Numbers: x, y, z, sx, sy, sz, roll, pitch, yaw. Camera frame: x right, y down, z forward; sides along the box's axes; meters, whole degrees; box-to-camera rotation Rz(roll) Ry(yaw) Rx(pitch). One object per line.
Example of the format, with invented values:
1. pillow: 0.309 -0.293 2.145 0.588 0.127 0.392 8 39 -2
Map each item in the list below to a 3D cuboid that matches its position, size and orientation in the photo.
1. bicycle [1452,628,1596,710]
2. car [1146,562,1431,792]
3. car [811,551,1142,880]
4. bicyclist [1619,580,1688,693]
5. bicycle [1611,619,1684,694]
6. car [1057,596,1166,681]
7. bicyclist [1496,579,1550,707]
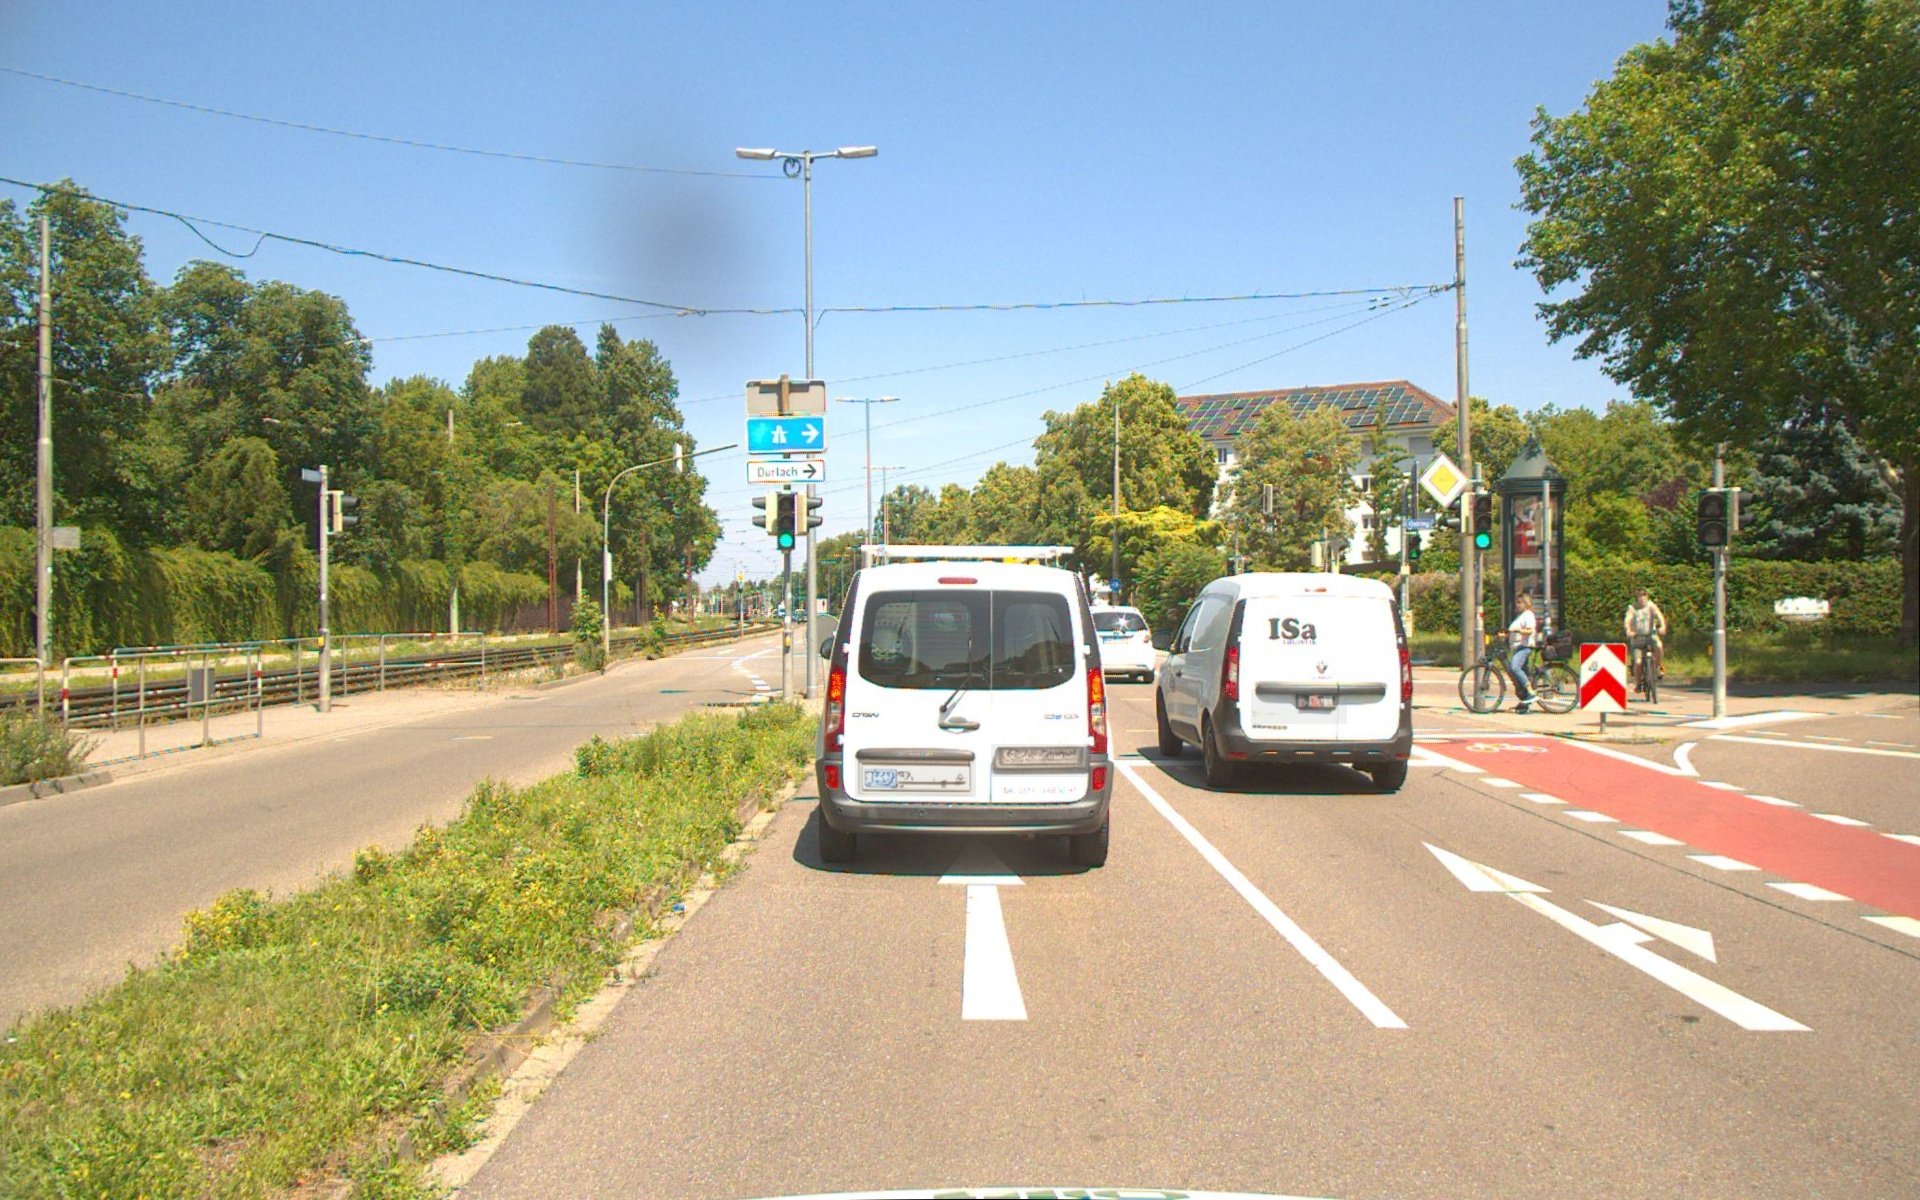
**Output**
1. bicycle: 8.132 0.984 23.915 1.827 1.144 0.895 0 -1 7
2. car: 2.872 0.636 15.313 1.693 1.820 4.062 1 0 -2
3. car: 0.058 0.637 11.235 1.784 1.770 4.395 1 0 -1
4. bicyclist: 11.431 0.590 27.260 0.955 1.819 0.725 -1 -1 30
5. bicycle: 11.356 0.907 27.296 0.875 1.179 1.952 -1 -1 30
6. car: 3.064 0.743 34.130 1.798 1.596 3.999 1 0 -1
7. bicyclist: 8.157 0.614 23.970 0.564 1.819 0.768 1 -1 7
